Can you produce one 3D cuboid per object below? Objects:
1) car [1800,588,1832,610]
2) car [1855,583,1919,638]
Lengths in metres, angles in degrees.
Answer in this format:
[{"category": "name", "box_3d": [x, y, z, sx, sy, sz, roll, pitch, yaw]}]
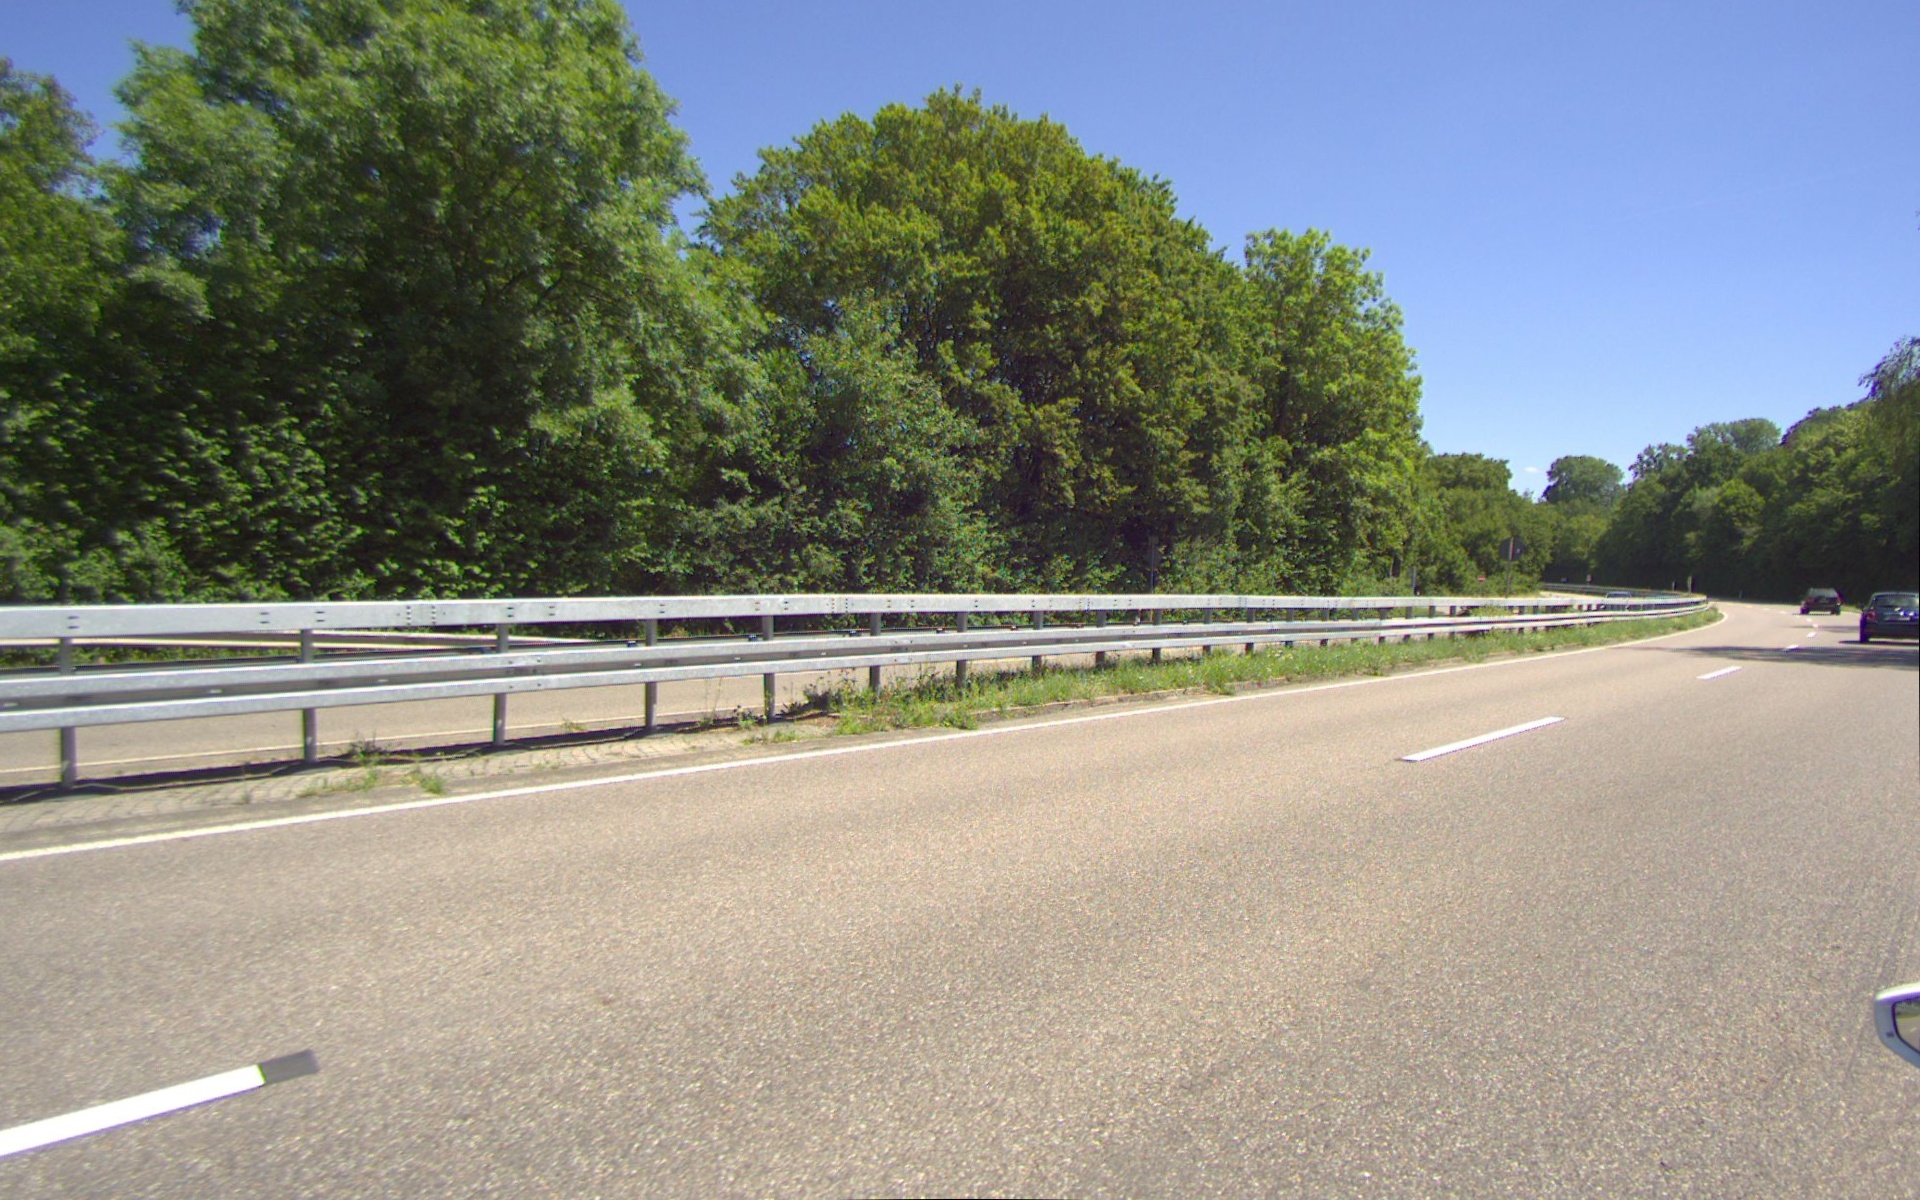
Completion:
[{"category": "car", "box_3d": [56.273, -0.063, 66.066, 1.507, 1.331, 3.398, 2, 1, 40]}, {"category": "car", "box_3d": [27.508, 0.293, 29.500, 3.564, 1.521, 1.499, 0, 1, -43]}]
